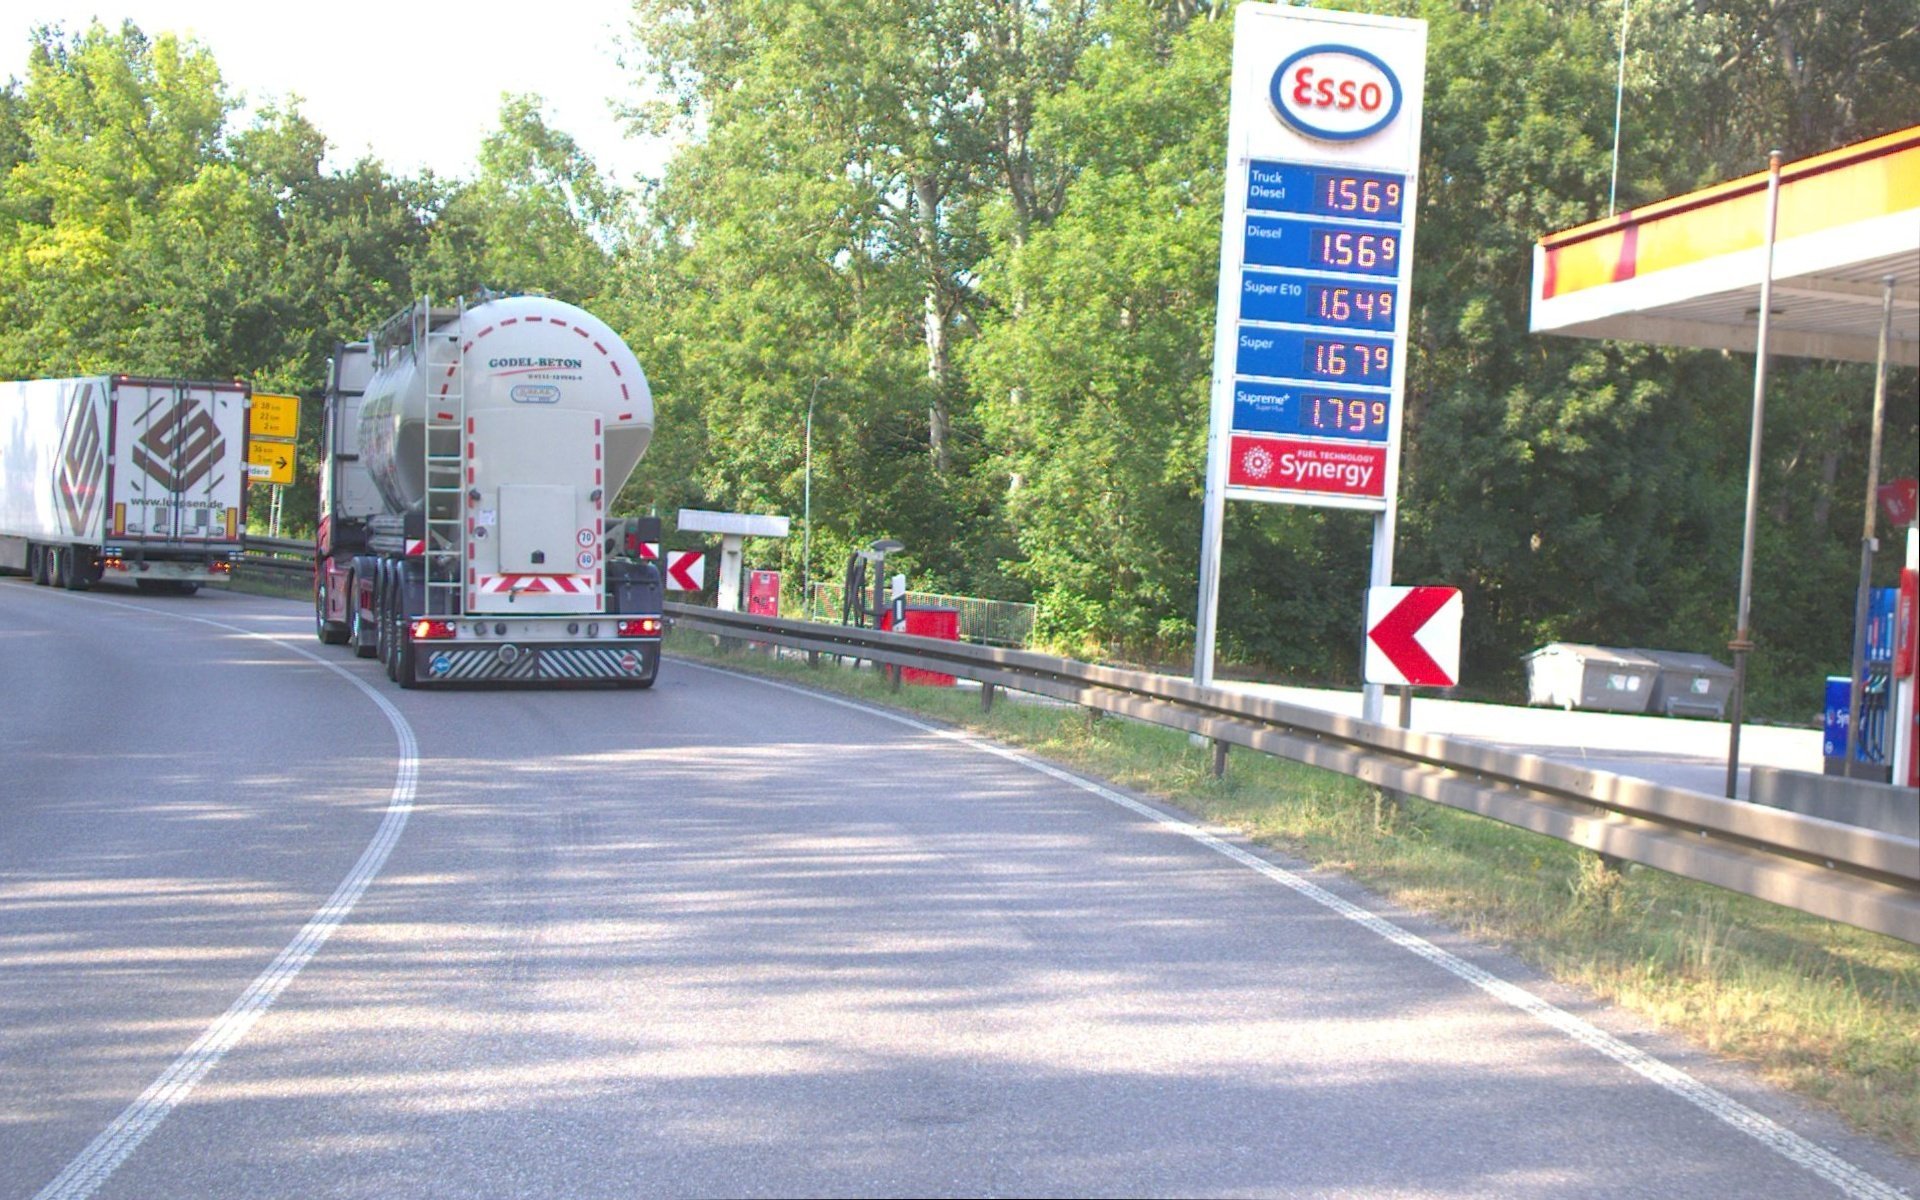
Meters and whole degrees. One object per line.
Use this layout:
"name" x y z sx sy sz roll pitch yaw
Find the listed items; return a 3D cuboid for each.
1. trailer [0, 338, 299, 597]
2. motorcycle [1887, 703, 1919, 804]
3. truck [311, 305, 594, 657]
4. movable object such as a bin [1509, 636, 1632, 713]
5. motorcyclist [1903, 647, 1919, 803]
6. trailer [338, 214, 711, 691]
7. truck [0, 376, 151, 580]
"trailer" -16.828 -2.607 68.162 3.545 4.497 12.987 3 1 -27
"motorcycle" 10.365 1.627 35.078 0.761 1.008 2.342 3 1 -11
"truck" -6.380 -1.430 42.488 2.823 4.021 5.896 0 1 -15
"movable object such as a bin" 13.154 1.593 74.207 1.265 1.415 2.558 6 -1 -24
"motorcyclist" 10.347 1.317 35.314 0.858 1.599 0.928 4 0 -10
"trailer" -4.945 -1.475 37.166 2.886 4.439 9.609 1 1 -14
"truck" -20.240 -2.642 74.460 3.450 4.072 6.492 3 1 -29
